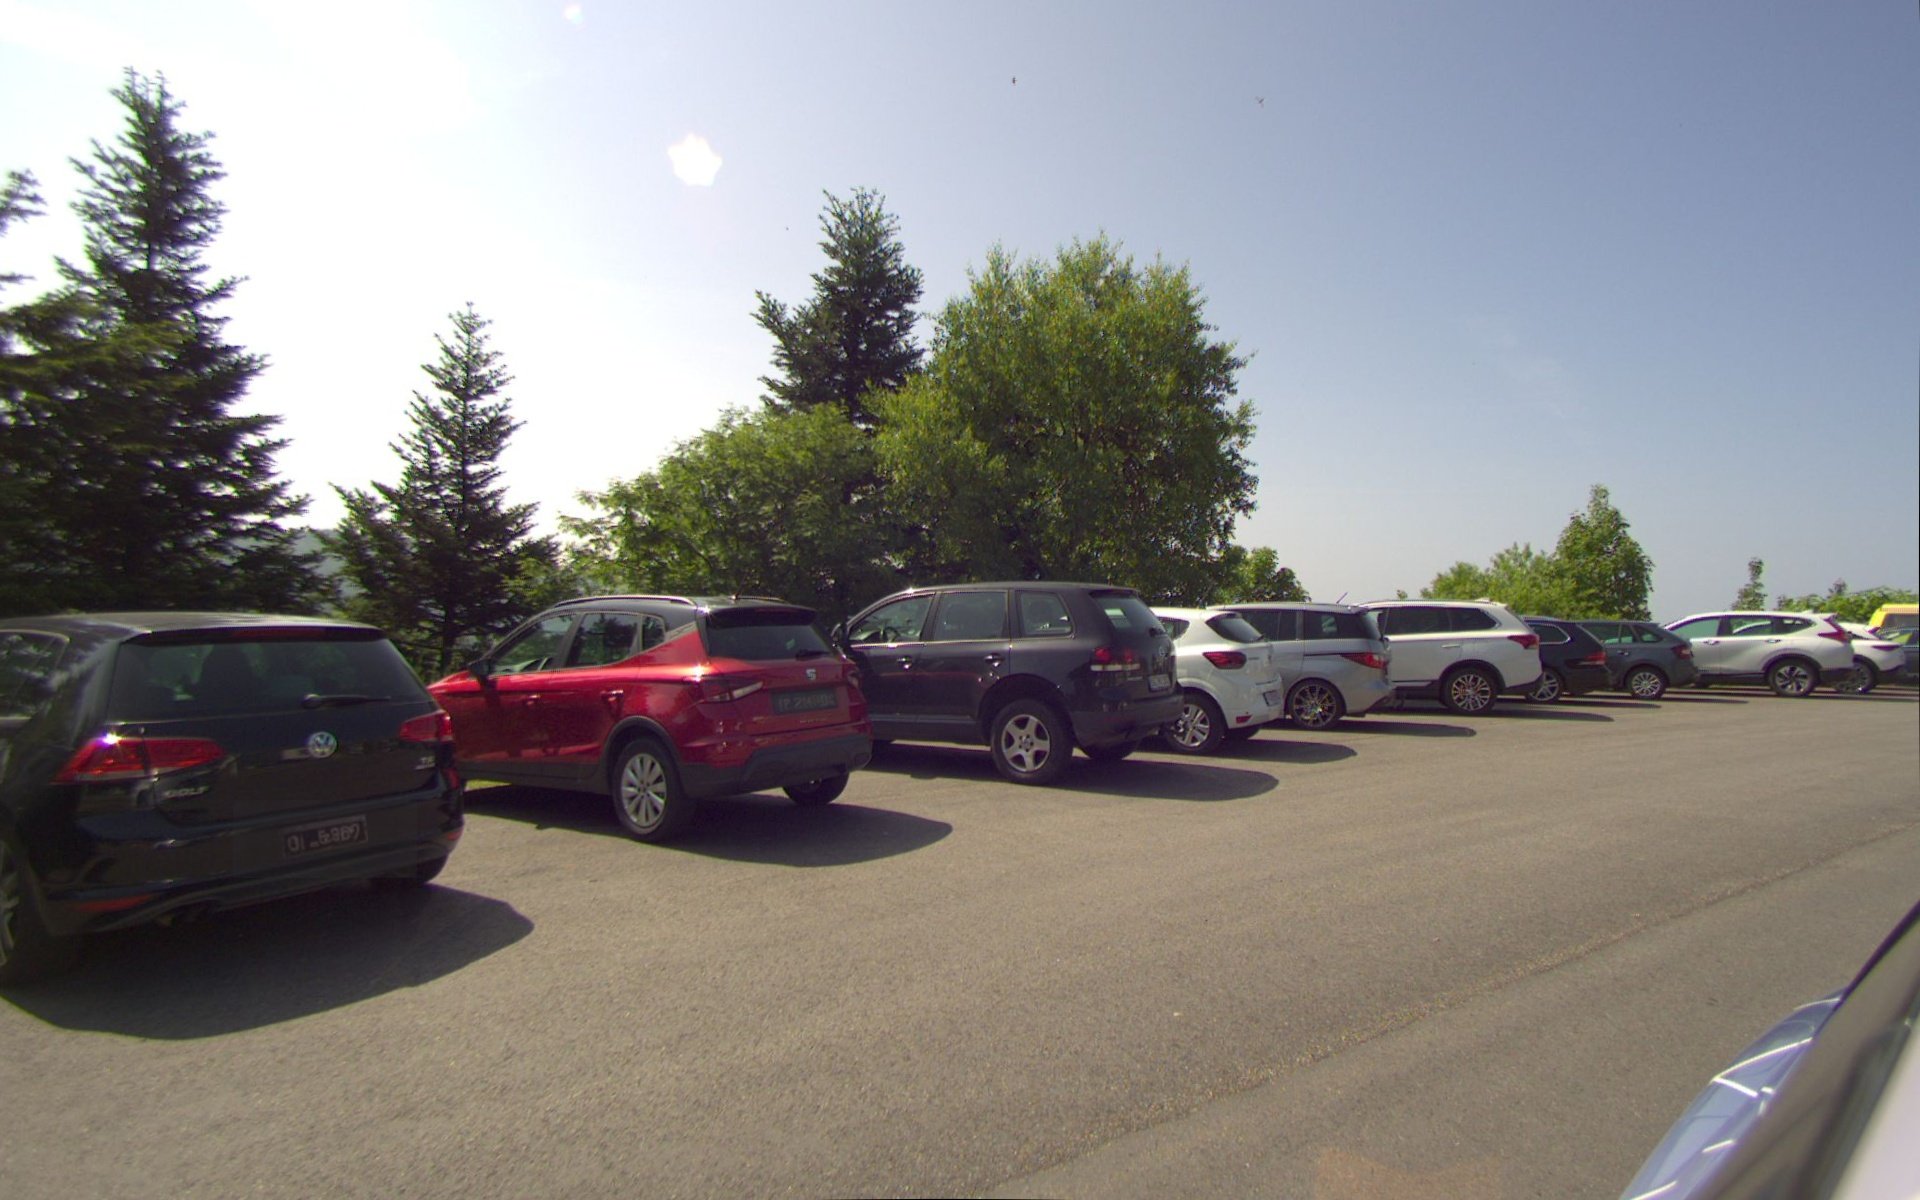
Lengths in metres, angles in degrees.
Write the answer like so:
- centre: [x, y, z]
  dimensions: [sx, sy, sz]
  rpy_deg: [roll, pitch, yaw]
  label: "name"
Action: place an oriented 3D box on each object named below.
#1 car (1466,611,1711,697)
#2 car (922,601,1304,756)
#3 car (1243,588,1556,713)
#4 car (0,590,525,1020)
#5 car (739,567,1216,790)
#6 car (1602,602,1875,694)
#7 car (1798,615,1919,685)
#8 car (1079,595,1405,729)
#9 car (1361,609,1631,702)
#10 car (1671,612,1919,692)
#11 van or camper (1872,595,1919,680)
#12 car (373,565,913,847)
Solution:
- centre: [11.818, 0.980, 19.183]
  dimensions: [3.782, 1.478, 1.641]
  rpy_deg: [-1, -2, 36]
  label: "car"
- centre: [1.682, 0.793, 11.587]
  dimensions: [3.970, 1.495, 1.747]
  rpy_deg: [-1, -1, 33]
  label: "car"
- centre: [6.580, 0.717, 15.594]
  dimensions: [4.174, 1.716, 1.850]
  rpy_deg: [0, -2, 21]
  label: "car"
- centre: [-4.250, 0.733, 5.137]
  dimensions: [3.964, 1.433, 1.726]
  rpy_deg: [-1, -2, 30]
  label: "car"
- centre: [0.100, 0.661, 9.809]
  dimensions: [4.239, 1.716, 1.968]
  rpy_deg: [-1, -2, 32]
  label: "car"
- centre: [15.475, 0.927, 20.361]
  dimensions: [4.162, 1.671, 1.865]
  rpy_deg: [-1, -2, 38]
  label: "car"
- centre: [21.671, 1.119, 22.498]
  dimensions: [1.777, 1.507, 4.363]
  rpy_deg: [3, -3, -35]
  label: "car"
- centre: [3.761, 0.774, 13.509]
  dimensions: [3.957, 1.569, 1.804]
  rpy_deg: [-1, -2, 25]
  label: "car"
- centre: [9.398, 0.934, 17.965]
  dimensions: [4.016, 1.480, 1.875]
  rpy_deg: [-1, -2, 30]
  label: "car"
- centre: [17.974, 1.030, 21.814]
  dimensions: [1.912, 1.519, 4.088]
  rpy_deg: [1, -1, -44]
  label: "car"
- centre: [24.586, 0.891, 23.214]
  dimensions: [1.843, 2.040, 5.112]
  rpy_deg: [2, -3, -28]
  label: "van or camper"
- centre: [-2.487, 0.657, 7.670]
  dimensions: [3.971, 1.610, 1.841]
  rpy_deg: [-1, -2, 34]
  label: "car"
